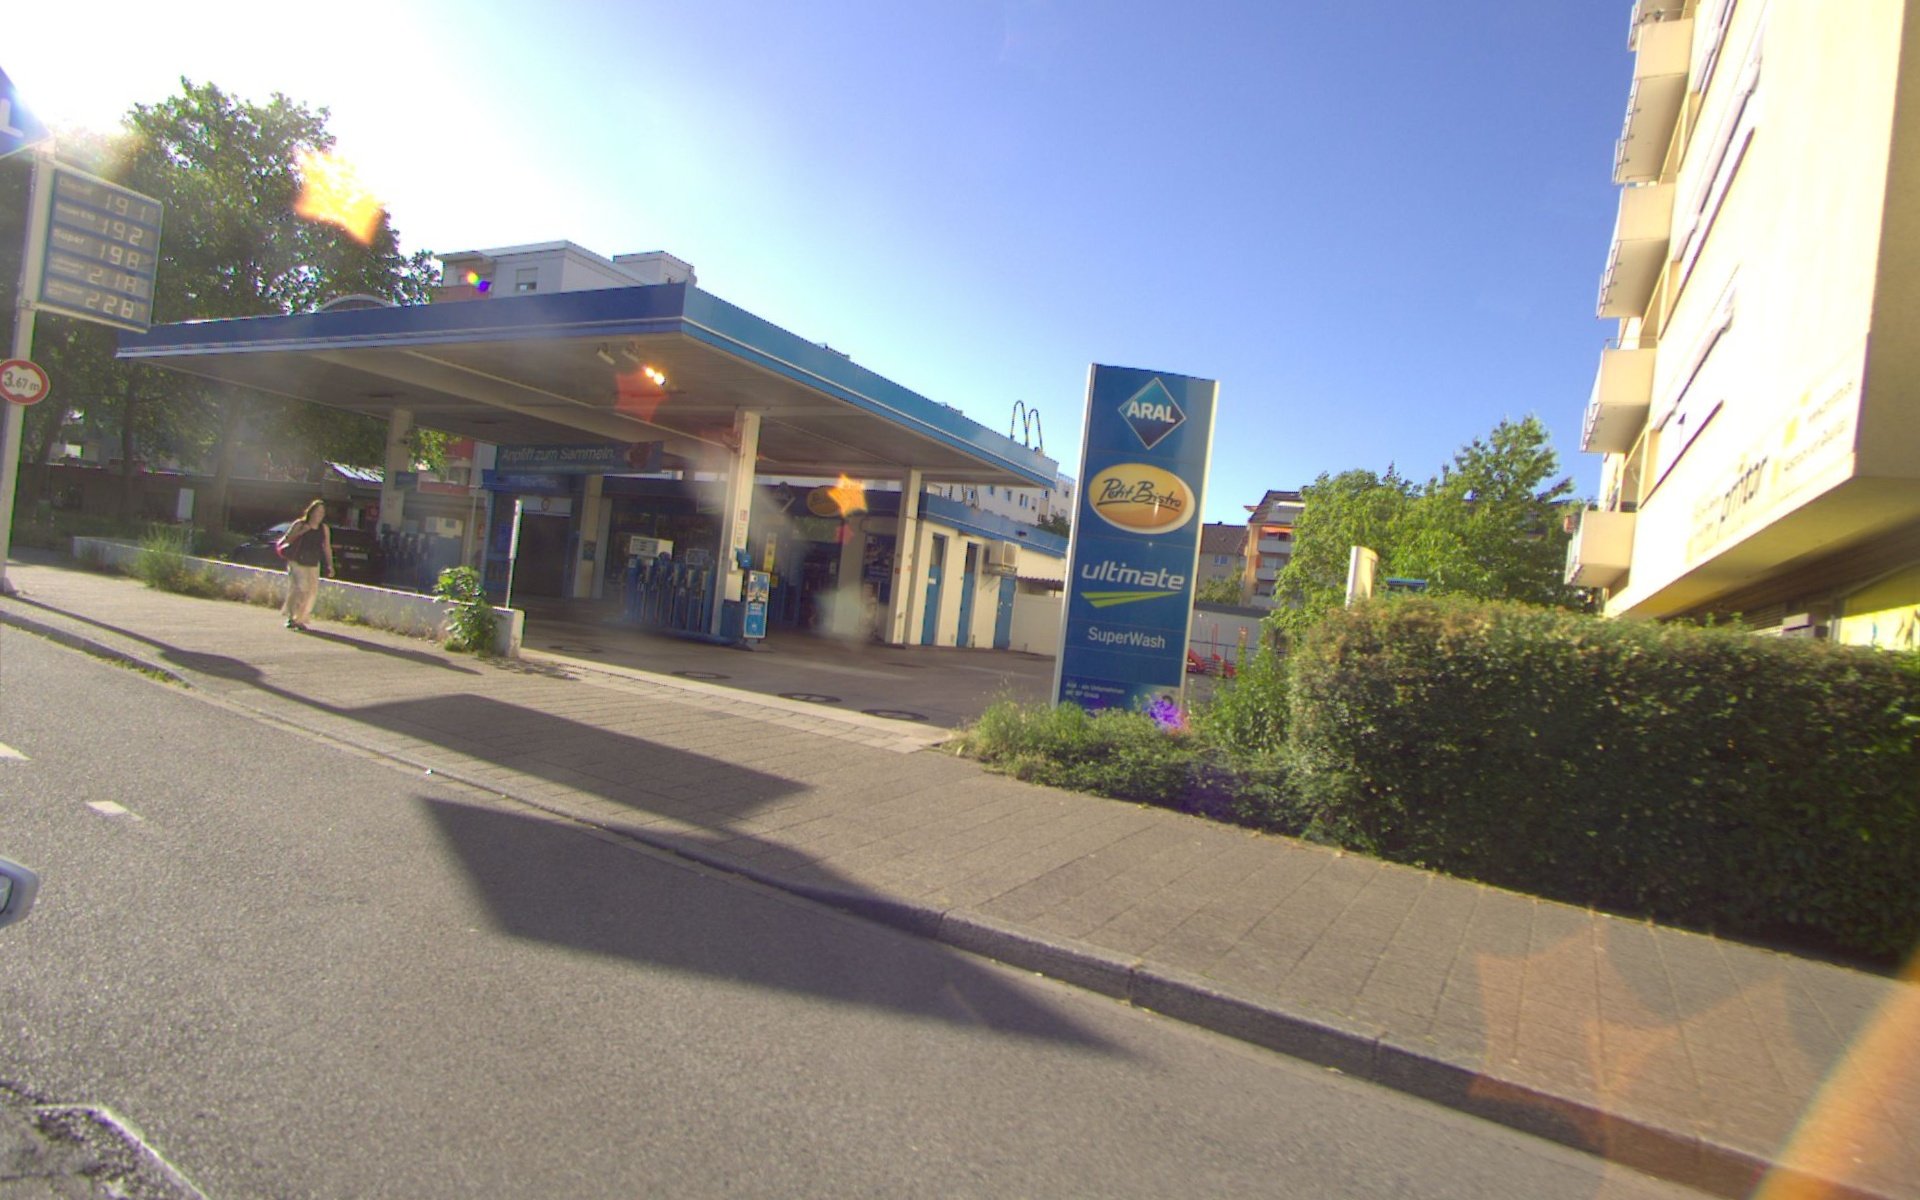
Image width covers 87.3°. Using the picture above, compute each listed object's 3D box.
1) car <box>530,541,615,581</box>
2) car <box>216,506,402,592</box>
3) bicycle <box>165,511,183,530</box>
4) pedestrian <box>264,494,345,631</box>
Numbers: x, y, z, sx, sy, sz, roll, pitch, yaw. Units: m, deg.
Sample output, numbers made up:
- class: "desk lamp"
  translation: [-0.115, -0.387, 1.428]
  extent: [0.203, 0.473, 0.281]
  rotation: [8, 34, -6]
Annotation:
- class: "car"
  translation: [-19.947, -2.006, 51.748]
  extent: [4.045, 1.522, 1.872]
  rotation: [7, 0, 31]
- class: "car"
  translation: [-14.974, -1.166, 23.120]
  extent: [3.934, 1.482, 1.724]
  rotation: [7, 1, 26]
- class: "bicycle"
  translation: [-54.101, -5.470, 69.267]
  extent: [0.593, 1.193, 1.836]
  rotation: [7, -1, -30]
- class: "pedestrian"
  translation: [-8.727, -0.489, 13.399]
  extent: [0.544, 1.722, 0.604]
  rotation: [7, 1, 36]
